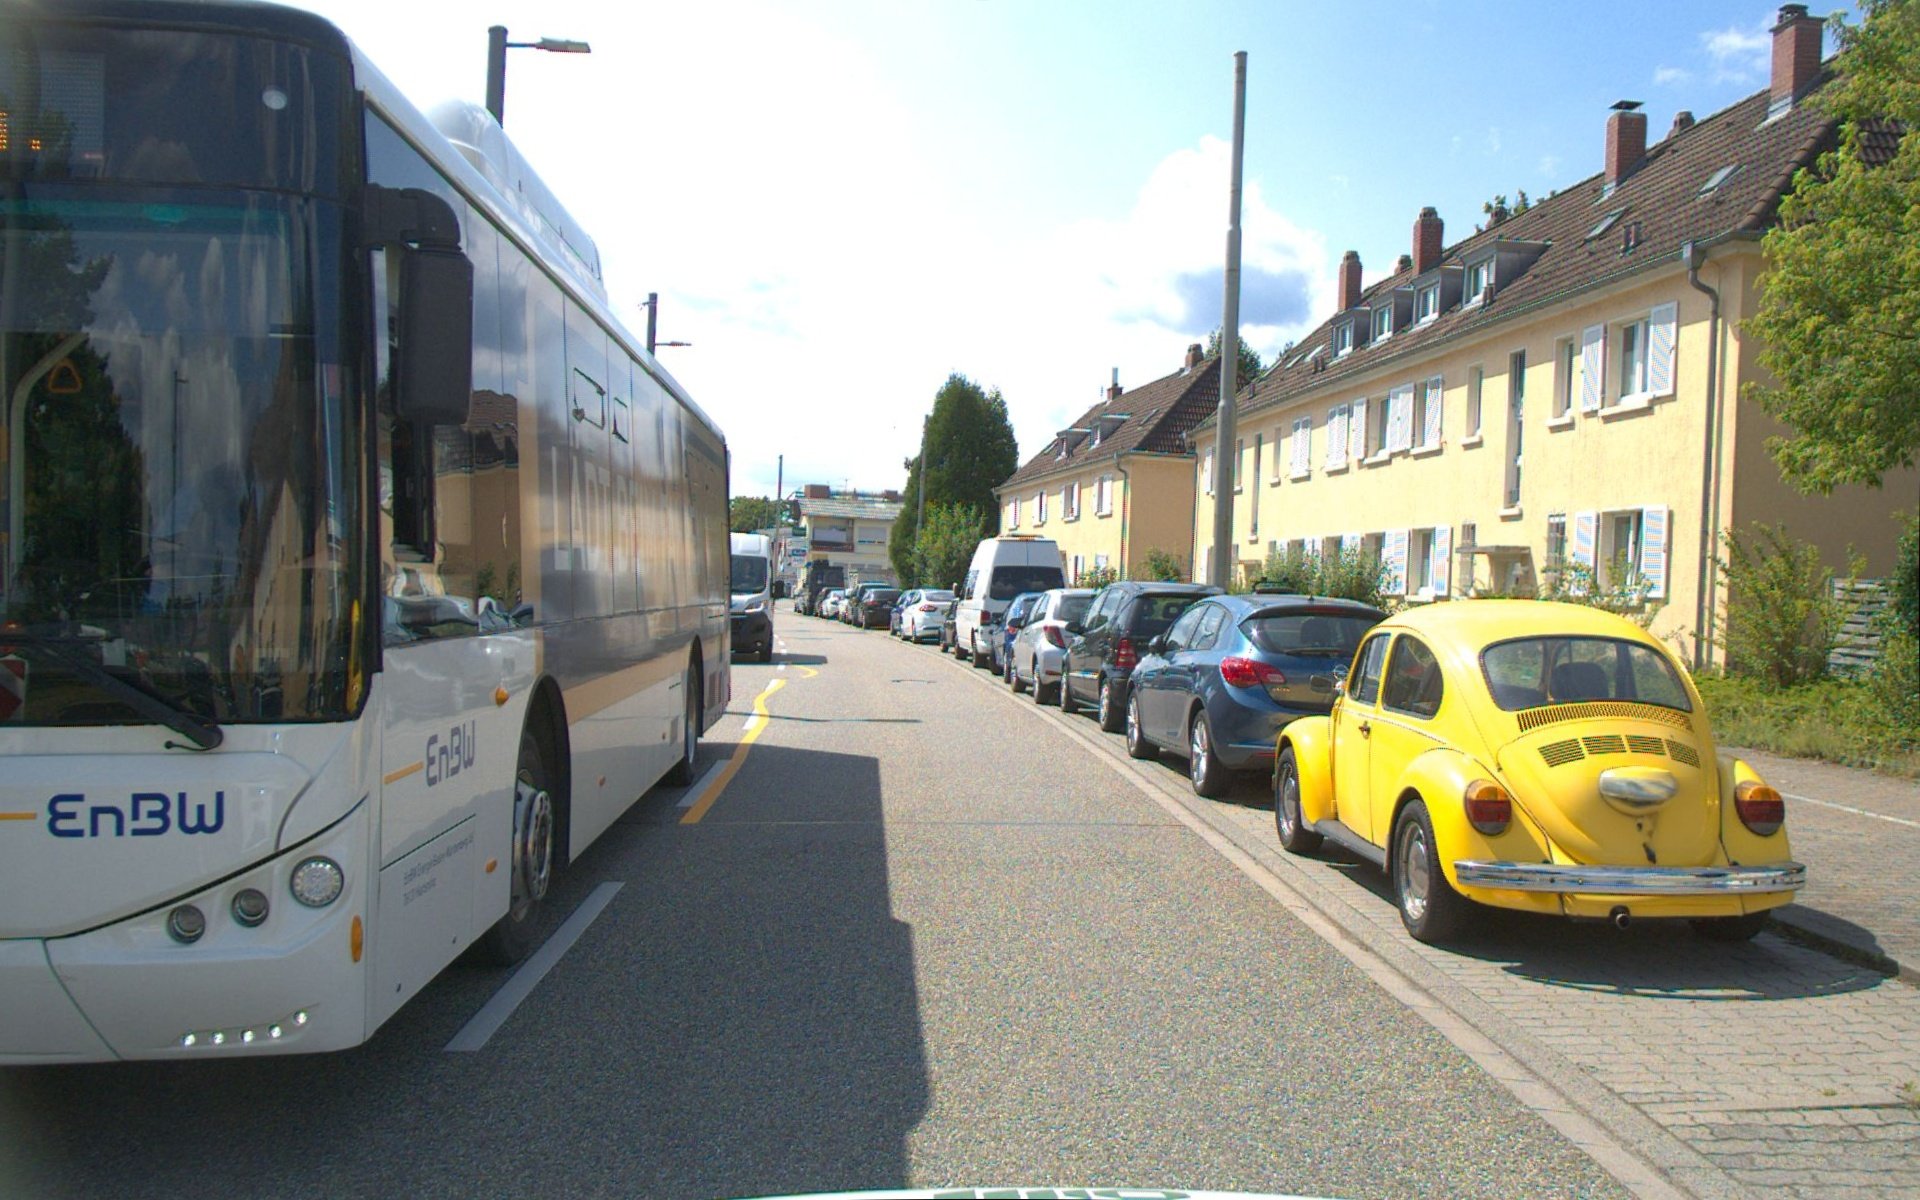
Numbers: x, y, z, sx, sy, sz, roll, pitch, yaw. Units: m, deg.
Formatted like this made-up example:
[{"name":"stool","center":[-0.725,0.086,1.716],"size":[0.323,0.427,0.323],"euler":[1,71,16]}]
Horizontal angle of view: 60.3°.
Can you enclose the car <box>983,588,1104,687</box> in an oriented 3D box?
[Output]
[{"name":"car","center":[1.338,0.572,27.813],"size":[1.506,1.470,3.734],"euler":[3,0,-5]}]

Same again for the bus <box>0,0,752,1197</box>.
[{"name":"bus","center":[-3.019,-0.395,9.982],"size":[2.584,3.472,12.241],"euler":[1,1,-3]}]

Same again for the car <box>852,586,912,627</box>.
[{"name":"car","center":[-2.854,0.212,60.016],"size":[1.731,1.442,3.992],"euler":[1,1,-9]}]

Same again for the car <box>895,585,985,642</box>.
[{"name":"car","center":[-0.607,0.363,45.760],"size":[1.766,1.483,4.754],"euler":[0,0,-10]}]

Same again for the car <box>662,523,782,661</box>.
[{"name":"car","center":[-4.725,-0.162,33.570],"size":[2.062,2.486,5.565],"euler":[2,0,-6]}]

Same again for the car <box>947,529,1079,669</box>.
[{"name":"car","center":[0.958,-0.038,33.160],"size":[1.892,2.524,5.511],"euler":[1,0,-6]}]

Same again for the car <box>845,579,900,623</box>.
[{"name":"car","center":[-3.465,0.029,65.116],"size":[1.731,1.672,3.992],"euler":[1,1,-9]}]

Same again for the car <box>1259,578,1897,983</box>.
[{"name":"car","center":[2.740,0.664,8.324],"size":[1.603,1.508,3.930],"euler":[0,1,-3]}]

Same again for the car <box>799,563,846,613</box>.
[{"name":"car","center":[-7.291,-0.625,87.161],"size":[1.924,2.522,6.045],"euler":[1,1,-10]}]

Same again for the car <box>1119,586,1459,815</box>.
[{"name":"car","center":[2.480,0.685,13.481],"size":[1.604,1.508,4.121],"euler":[3,0,-5]}]

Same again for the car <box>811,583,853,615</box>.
[{"name":"car","center":[-6.302,-0.070,81.016],"size":[1.731,1.528,3.992],"euler":[1,1,-9]}]

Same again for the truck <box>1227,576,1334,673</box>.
[{"name":"truck","center":[6.015,0.442,31.238],"size":[1.320,1.718,2.438],"euler":[2,0,-5]}]

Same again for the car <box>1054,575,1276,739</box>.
[{"name":"car","center":[2.239,0.570,19.044],"size":[1.605,1.630,3.926],"euler":[3,0,-7]}]

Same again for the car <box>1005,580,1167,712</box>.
[{"name":"car","center":[1.673,0.571,23.173],"size":[1.604,1.630,4.025],"euler":[3,0,-5]}]

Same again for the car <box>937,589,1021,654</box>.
[{"name":"car","center":[0.395,0.476,38.013],"size":[1.317,1.364,3.280],"euler":[3,0,-10]}]

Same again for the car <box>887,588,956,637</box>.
[{"name":"car","center":[-1.236,0.360,51.293],"size":[1.591,1.442,3.992],"euler":[1,1,-9]}]

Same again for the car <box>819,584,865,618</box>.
[{"name":"car","center":[-5.449,0.023,76.061],"size":[1.731,1.465,3.992],"euler":[1,1,-9]}]

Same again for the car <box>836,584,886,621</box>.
[{"name":"car","center":[-4.232,0.076,69.961],"size":[1.731,1.502,3.992],"euler":[1,1,-9]}]

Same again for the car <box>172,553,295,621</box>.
[{"name":"car","center":[-18.780,-0.345,42.967],"size":[1.663,1.666,4.561],"euler":[1,1,-7]}]

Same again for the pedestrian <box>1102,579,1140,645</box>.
[{"name":"pedestrian","center":[4.258,0.311,43.735],"size":[0.837,1.680,0.636],"euler":[3,0,-4]}]
